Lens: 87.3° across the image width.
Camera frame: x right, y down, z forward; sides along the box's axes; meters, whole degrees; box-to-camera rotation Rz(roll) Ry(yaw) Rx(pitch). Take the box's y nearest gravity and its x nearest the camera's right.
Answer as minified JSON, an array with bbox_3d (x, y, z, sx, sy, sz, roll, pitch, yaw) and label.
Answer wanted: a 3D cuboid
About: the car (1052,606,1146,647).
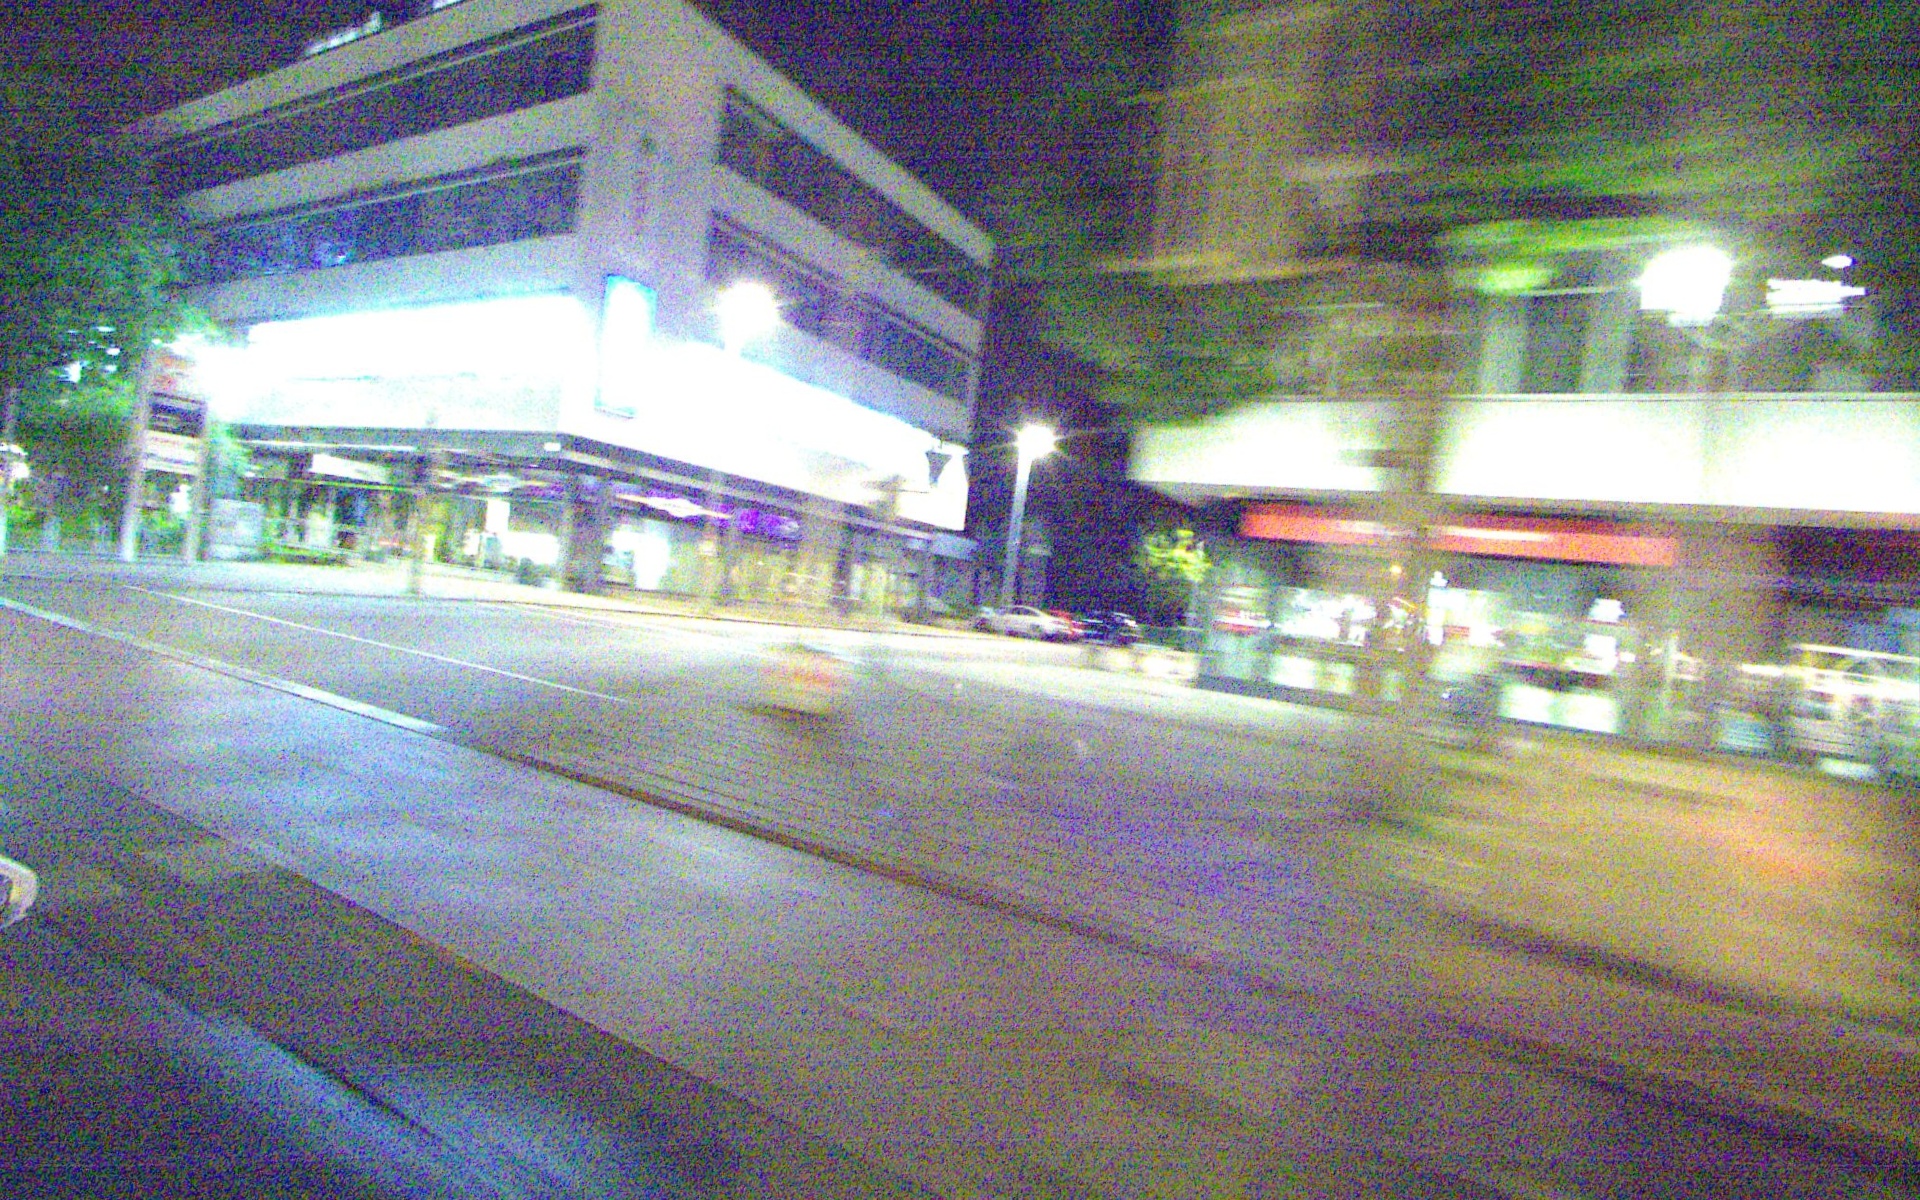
[{"bbox_3d":[7.261,1.383,52.635,4.311,1.586,1.971,7,1,29],"label":"car"}]

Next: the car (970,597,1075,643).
[{"bbox_3d":[2.882,0.900,46.422,4.311,1.586,1.971,7,1,29],"label":"car"}]

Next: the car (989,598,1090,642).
[{"bbox_3d":[3.853,0.968,48.620,4.311,1.586,1.971,7,1,29],"label":"car"}]
